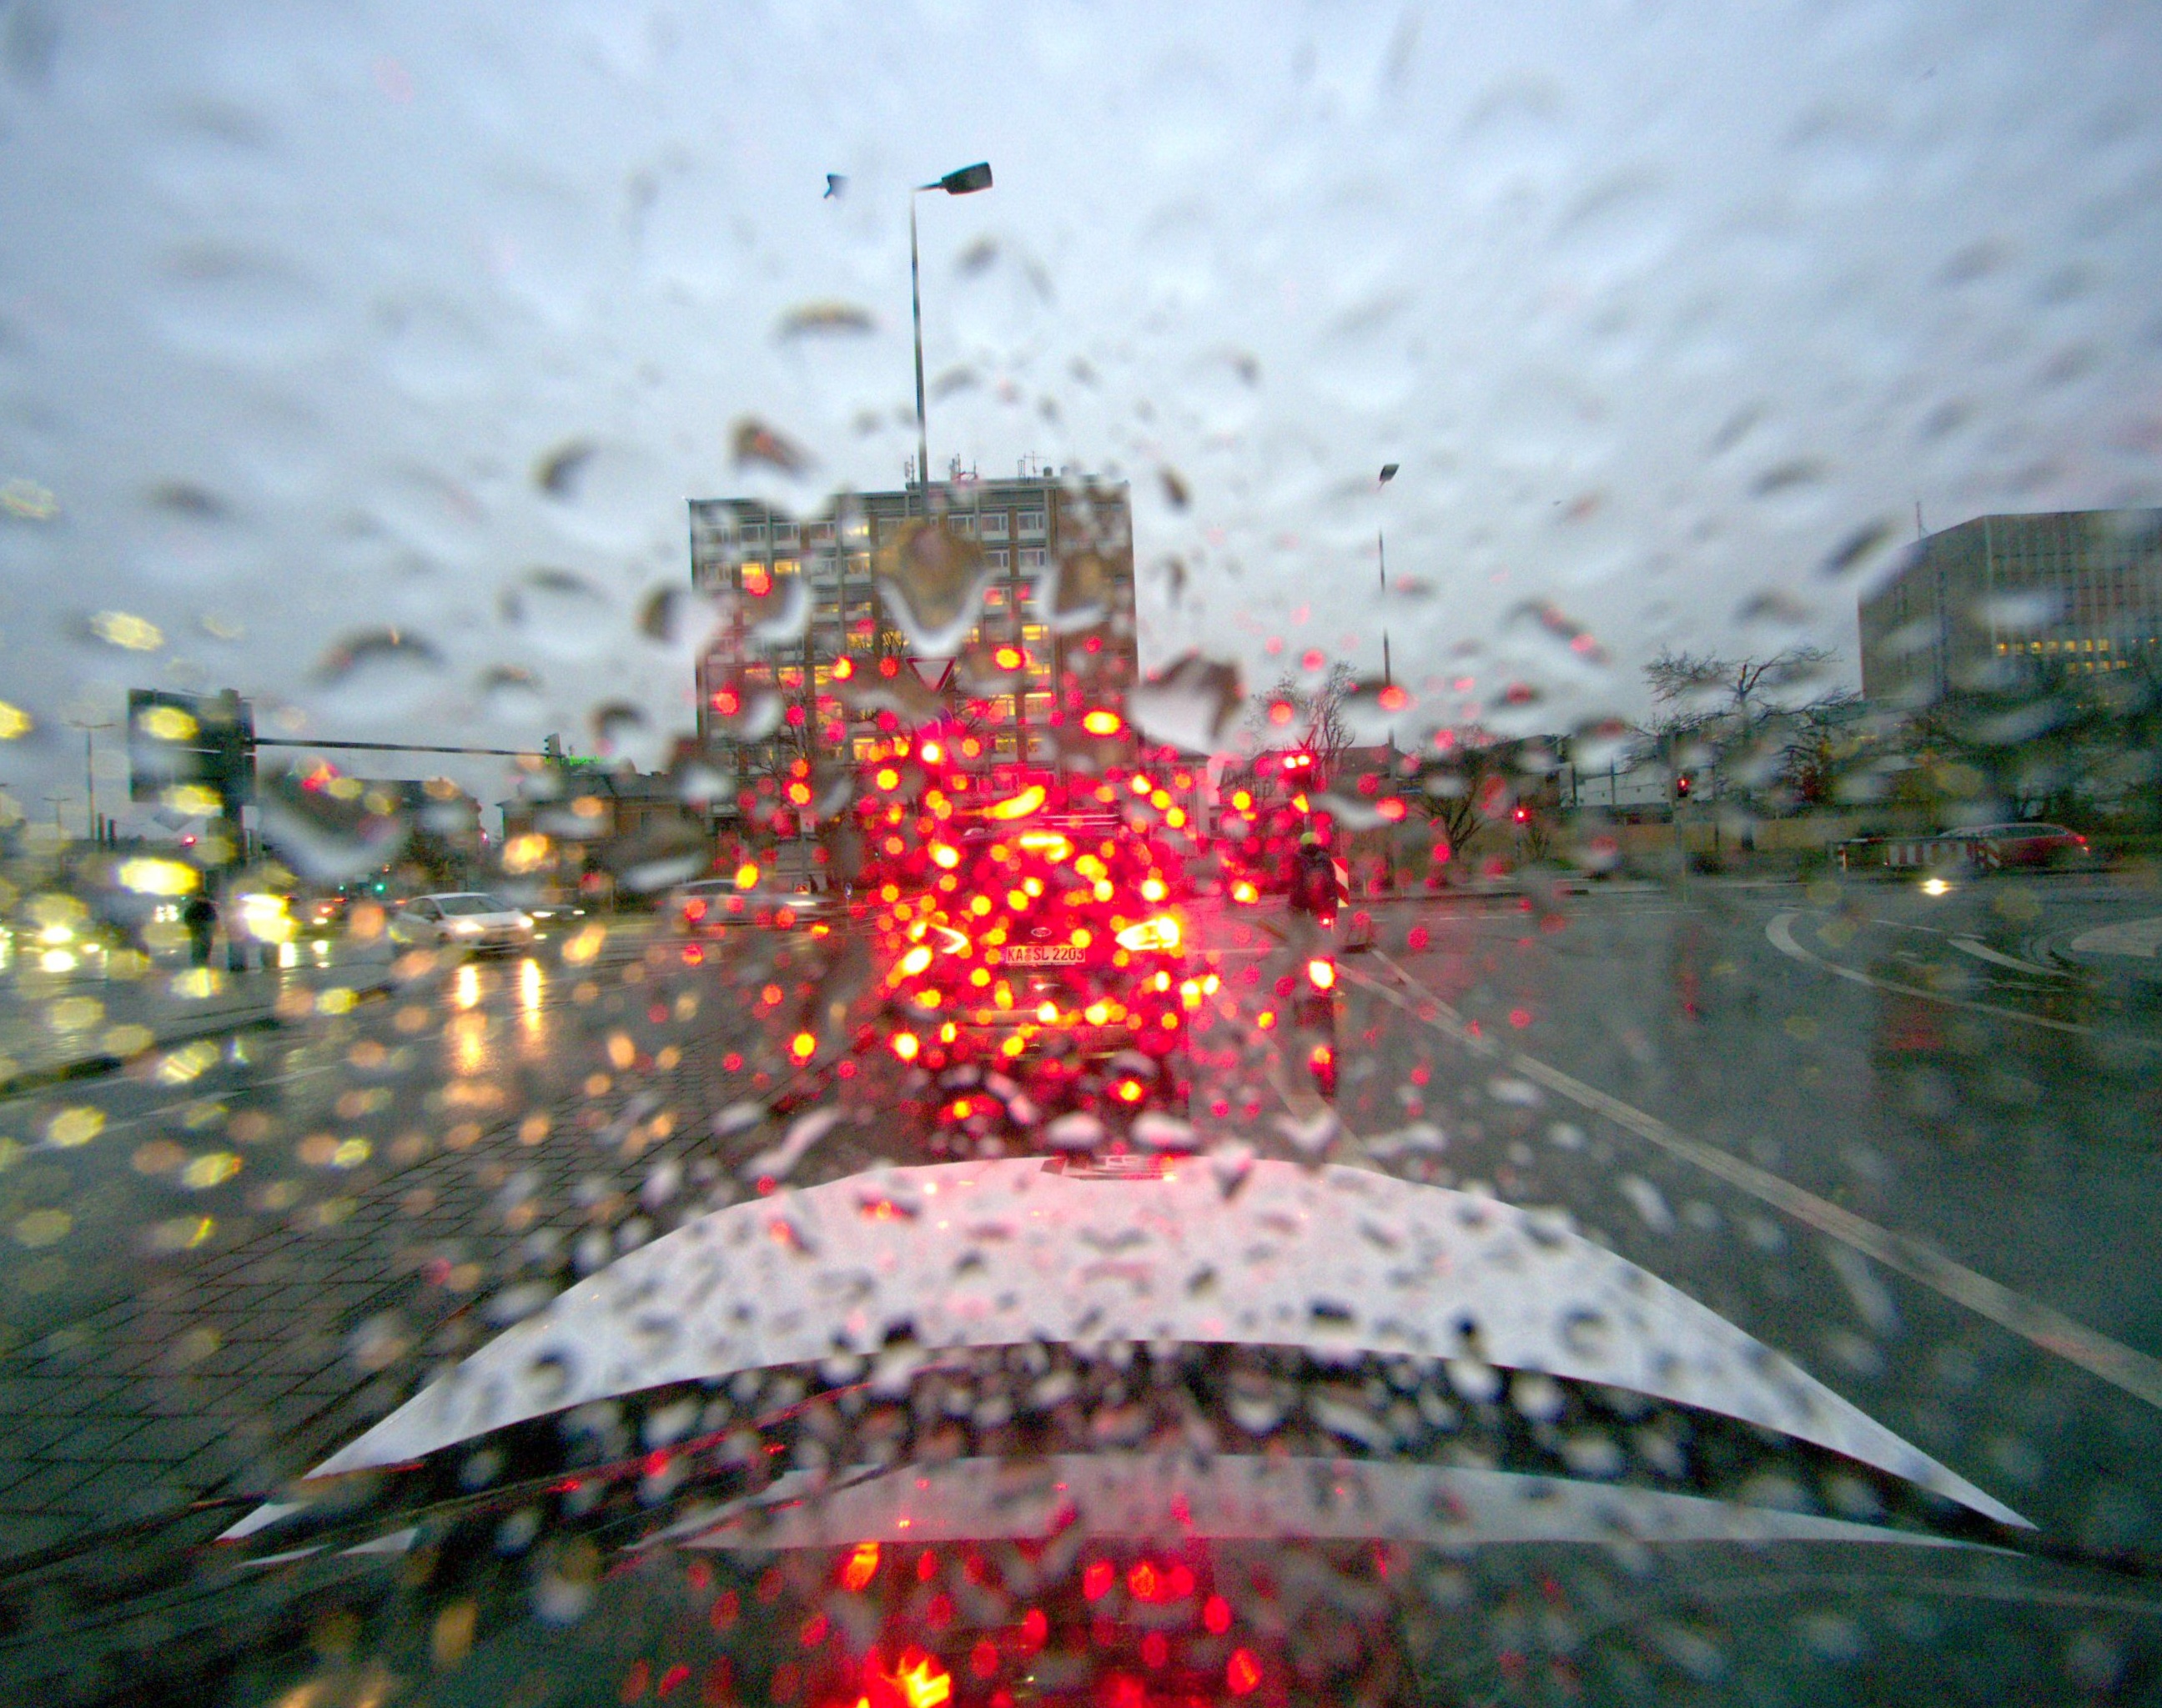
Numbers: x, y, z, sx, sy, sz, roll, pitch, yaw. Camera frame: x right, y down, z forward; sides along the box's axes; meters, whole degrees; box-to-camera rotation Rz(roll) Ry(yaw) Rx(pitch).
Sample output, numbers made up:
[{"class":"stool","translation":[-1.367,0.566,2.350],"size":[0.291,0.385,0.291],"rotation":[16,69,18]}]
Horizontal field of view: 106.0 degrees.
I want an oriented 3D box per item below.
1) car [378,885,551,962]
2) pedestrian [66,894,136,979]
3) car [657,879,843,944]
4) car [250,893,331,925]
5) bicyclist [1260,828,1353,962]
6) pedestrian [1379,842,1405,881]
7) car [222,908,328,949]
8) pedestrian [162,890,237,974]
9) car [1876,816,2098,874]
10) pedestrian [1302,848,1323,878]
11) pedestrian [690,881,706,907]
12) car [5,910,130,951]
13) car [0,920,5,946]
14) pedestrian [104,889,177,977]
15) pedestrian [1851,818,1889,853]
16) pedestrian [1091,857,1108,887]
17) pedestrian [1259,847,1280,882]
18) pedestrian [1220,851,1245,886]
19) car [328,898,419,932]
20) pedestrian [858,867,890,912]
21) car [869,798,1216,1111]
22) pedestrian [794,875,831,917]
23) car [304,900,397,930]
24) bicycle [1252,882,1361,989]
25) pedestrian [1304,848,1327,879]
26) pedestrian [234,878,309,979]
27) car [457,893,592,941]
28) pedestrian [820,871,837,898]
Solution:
[{"class":"car","translation":[-14.313,1.617,18.882],"size":[3.666,1.448,1.756],"rotation":[-5,-1,28]},{"class":"pedestrian","translation":[-21.486,1.788,17.864],"size":[0.741,1.770,0.546],"rotation":[-3,0,-12]},{"class":"car","translation":[-9.475,1.639,23.407],"size":[4.649,1.552,1.947],"rotation":[-3,-1,15]},{"class":"car","translation":[-51.161,3.544,52.761],"size":[1.649,1.826,3.609],"rotation":[-1,-1,39]},{"class":"bicyclist","translation":[2.583,0.455,9.435],"size":[0.780,1.453,1.134],"rotation":[0,-1,2]},{"class":"pedestrian","translation":[17.060,0.413,44.686],"size":[0.882,2.113,0.893],"rotation":[-3,0,-8]},{"class":"car","translation":[-33.823,3.130,34.174],"size":[3.919,1.477,1.821],"rotation":[-3,-1,24]},{"class":"pedestrian","translation":[-19.543,1.713,18.065],"size":[0.653,1.755,0.856],"rotation":[-3,0,18]},{"class":"car","translation":[27.536,-0.263,24.886],"size":[4.390,1.477,1.814],"rotation":[-3,-1,6]},{"class":"pedestrian","translation":[12.352,0.452,43.431],"size":[0.888,1.533,0.888],"rotation":[-3,0,7]},{"class":"pedestrian","translation":[-25.523,2.653,54.241],"size":[0.634,1.688,0.640],"rotation":[-3,0,18]},{"class":"car","translation":[-42.516,3.200,34.166],"size":[4.540,1.477,1.820],"rotation":[-3,-1,19]},{"class":"car","translation":[-66.517,4.822,48.633],"size":[4.613,1.477,1.822],"rotation":[-3,-1,26]},{"class":"pedestrian","translation":[-20.793,1.718,18.018],"size":[0.733,1.838,0.674],"rotation":[-3,0,-11]},{"class":"pedestrian","translation":[38.155,-0.893,39.393],"size":[0.956,1.603,0.796],"rotation":[-3,0,9]},{"class":"pedestrian","translation":[1.081,1.031,46.805],"size":[0.760,1.628,0.719],"rotation":[-3,0,-11]},{"class":"pedestrian","translation":[10.189,0.554,43.977],"size":[0.990,1.799,0.922],"rotation":[-3,0,10]},{"class":"pedestrian","translation":[7.950,0.754,42.650],"size":[1.127,1.720,0.984],"rotation":[-3,0,12]},{"class":"car","translation":[-36.094,3.074,41.568],"size":[3.953,1.568,1.836],"rotation":[-1,-1,21]},{"class":"pedestrian","translation":[-9.489,1.642,37.370],"size":[0.918,1.978,0.966],"rotation":[-3,0,27]},{"class":"car","translation":[-0.163,0.593,6.680],"size":[1.986,1.789,4.001],"rotation":[0,-1,2]},{"class":"pedestrian","translation":[-12.631,1.990,38.378],"size":[0.992,1.842,1.146],"rotation":[-3,2,28]},{"class":"car","translation":[-43.822,3.634,48.908],"size":[1.582,1.482,3.840],"rotation":[-1,-1,31]},{"class":"bicycle","translation":[2.584,0.894,9.565],"size":[0.780,1.075,1.958],"rotation":[0,-1,2]},{"class":"pedestrian","translation":[12.158,0.464,42.223],"size":[0.920,1.533,1.045],"rotation":[-3,0,6]},{"class":"pedestrian","translation":[-17.319,1.559,17.456],"size":[0.996,2.021,0.792],"rotation":[-3,0,-39]},{"class":"car","translation":[-20.304,2.302,29.718],"size":[4.537,1.477,1.821],"rotation":[-3,-1,22]},{"class":"pedestrian","translation":[-15.655,1.880,50.446],"size":[0.753,1.628,0.560],"rotation":[-3,0,16]}]
